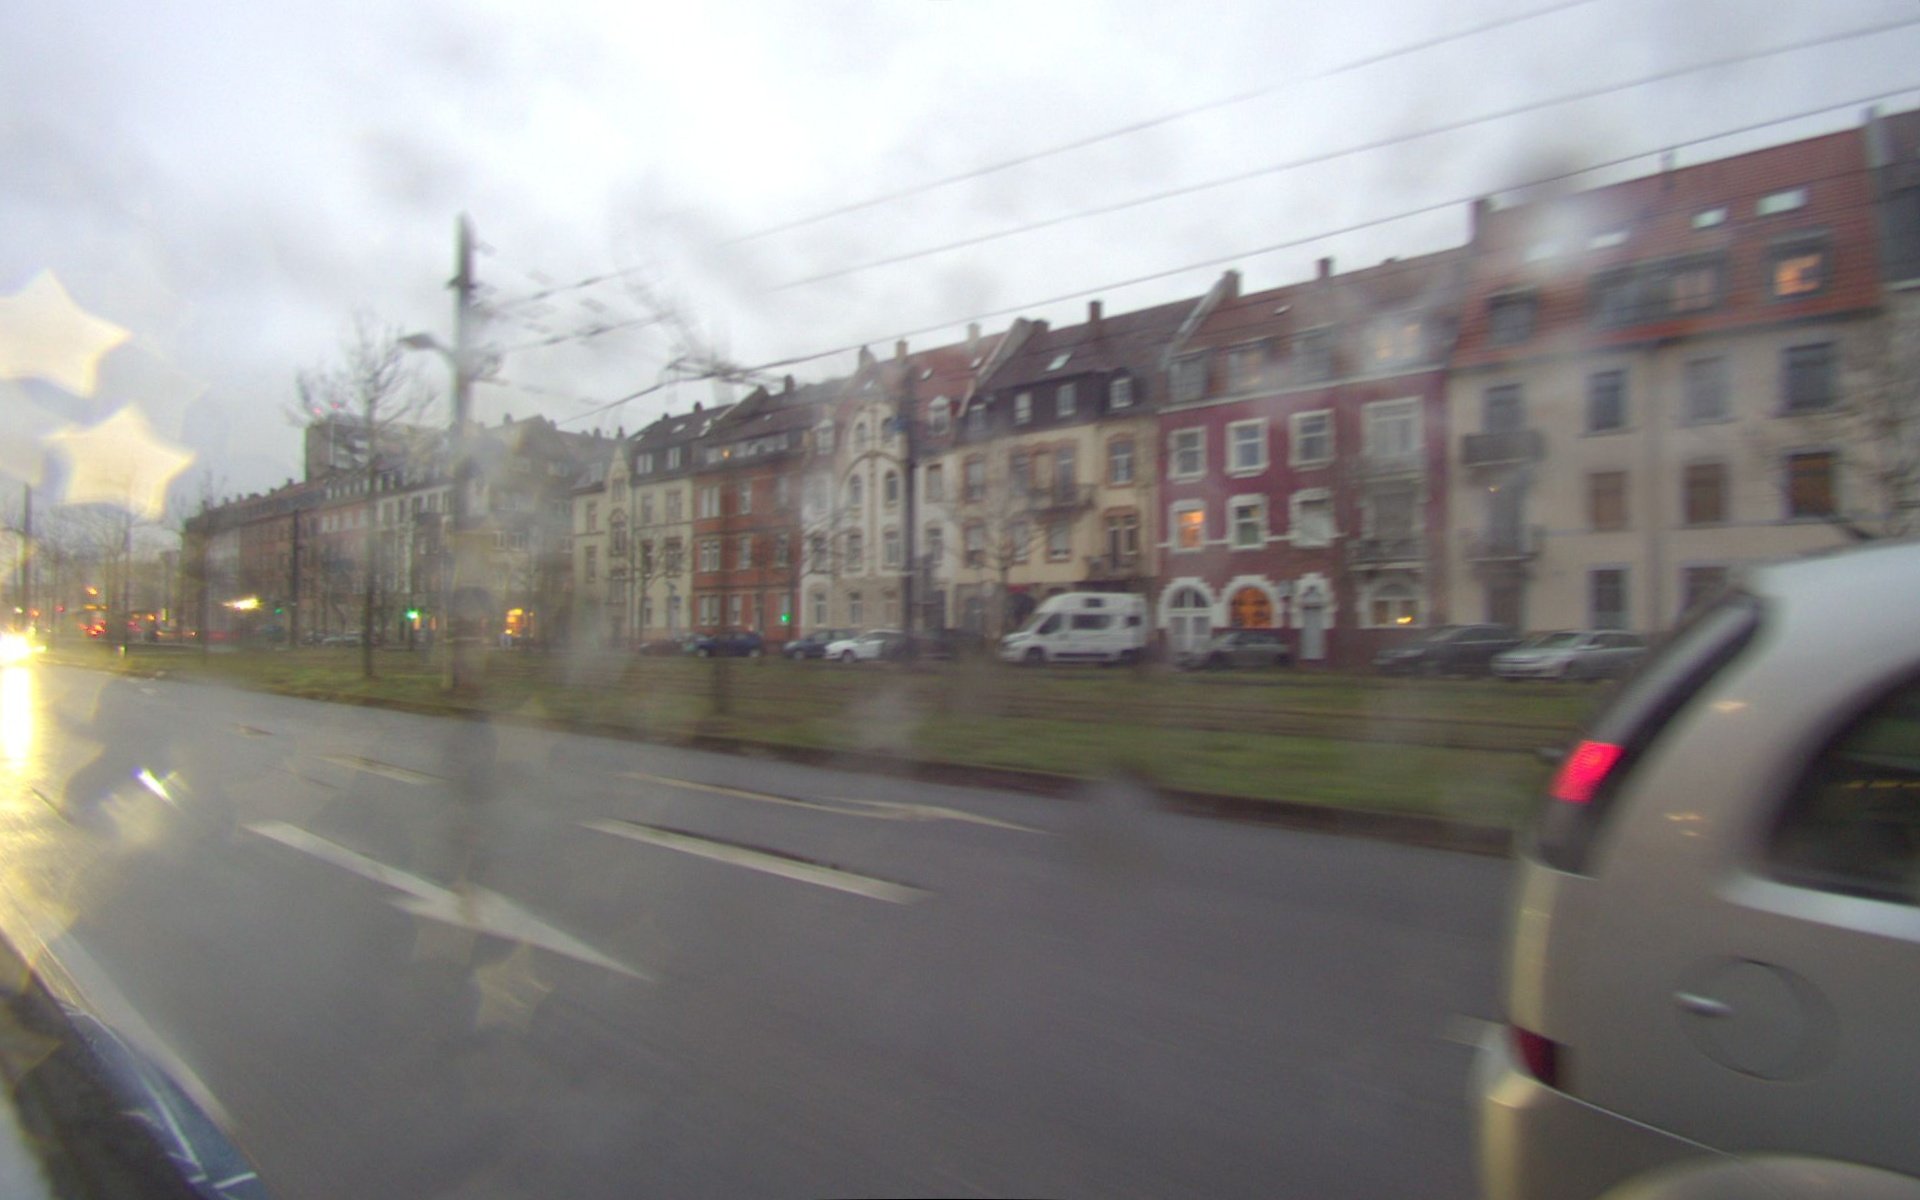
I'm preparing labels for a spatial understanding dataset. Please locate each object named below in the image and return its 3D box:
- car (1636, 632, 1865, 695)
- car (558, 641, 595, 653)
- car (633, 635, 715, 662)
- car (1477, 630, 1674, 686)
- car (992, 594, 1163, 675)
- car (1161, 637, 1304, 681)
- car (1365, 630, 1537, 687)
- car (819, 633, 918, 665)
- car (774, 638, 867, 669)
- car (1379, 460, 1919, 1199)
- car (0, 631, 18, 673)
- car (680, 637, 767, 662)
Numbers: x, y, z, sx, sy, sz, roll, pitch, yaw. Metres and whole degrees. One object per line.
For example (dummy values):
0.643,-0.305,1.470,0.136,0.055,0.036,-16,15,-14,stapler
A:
17.932,1.411,23.049,3.934,1.342,2.005,1,-2,-12,car
-34.865,4.301,91.952,1.330,1.083,2.860,-2,-3,40,car
-14.513,2.465,51.501,3.933,1.342,2.005,1,-2,-13,car
15.626,1.459,25.778,3.934,1.342,2.005,1,-2,-12,car
4.176,1.242,36.443,5.774,2.819,2.003,0,-2,-8,car
8.676,1.863,32.386,3.934,1.342,2.005,1,-2,-12,car
13.639,1.602,28.218,3.932,1.497,2.005,1,-2,-15,car
-3.930,2.086,43.242,3.932,1.342,2.005,1,-2,-15,car
-6.319,2.396,45.635,3.933,1.342,2.005,1,-2,-14,car
2.773,0.616,0.924,4.052,1.612,1.790,-2,-1,41,car
-36.754,1.938,37.872,4.051,1.508,1.790,-2,-1,41,car
-11.206,2.344,48.158,3.934,1.178,2.004,1,-2,-11,car
